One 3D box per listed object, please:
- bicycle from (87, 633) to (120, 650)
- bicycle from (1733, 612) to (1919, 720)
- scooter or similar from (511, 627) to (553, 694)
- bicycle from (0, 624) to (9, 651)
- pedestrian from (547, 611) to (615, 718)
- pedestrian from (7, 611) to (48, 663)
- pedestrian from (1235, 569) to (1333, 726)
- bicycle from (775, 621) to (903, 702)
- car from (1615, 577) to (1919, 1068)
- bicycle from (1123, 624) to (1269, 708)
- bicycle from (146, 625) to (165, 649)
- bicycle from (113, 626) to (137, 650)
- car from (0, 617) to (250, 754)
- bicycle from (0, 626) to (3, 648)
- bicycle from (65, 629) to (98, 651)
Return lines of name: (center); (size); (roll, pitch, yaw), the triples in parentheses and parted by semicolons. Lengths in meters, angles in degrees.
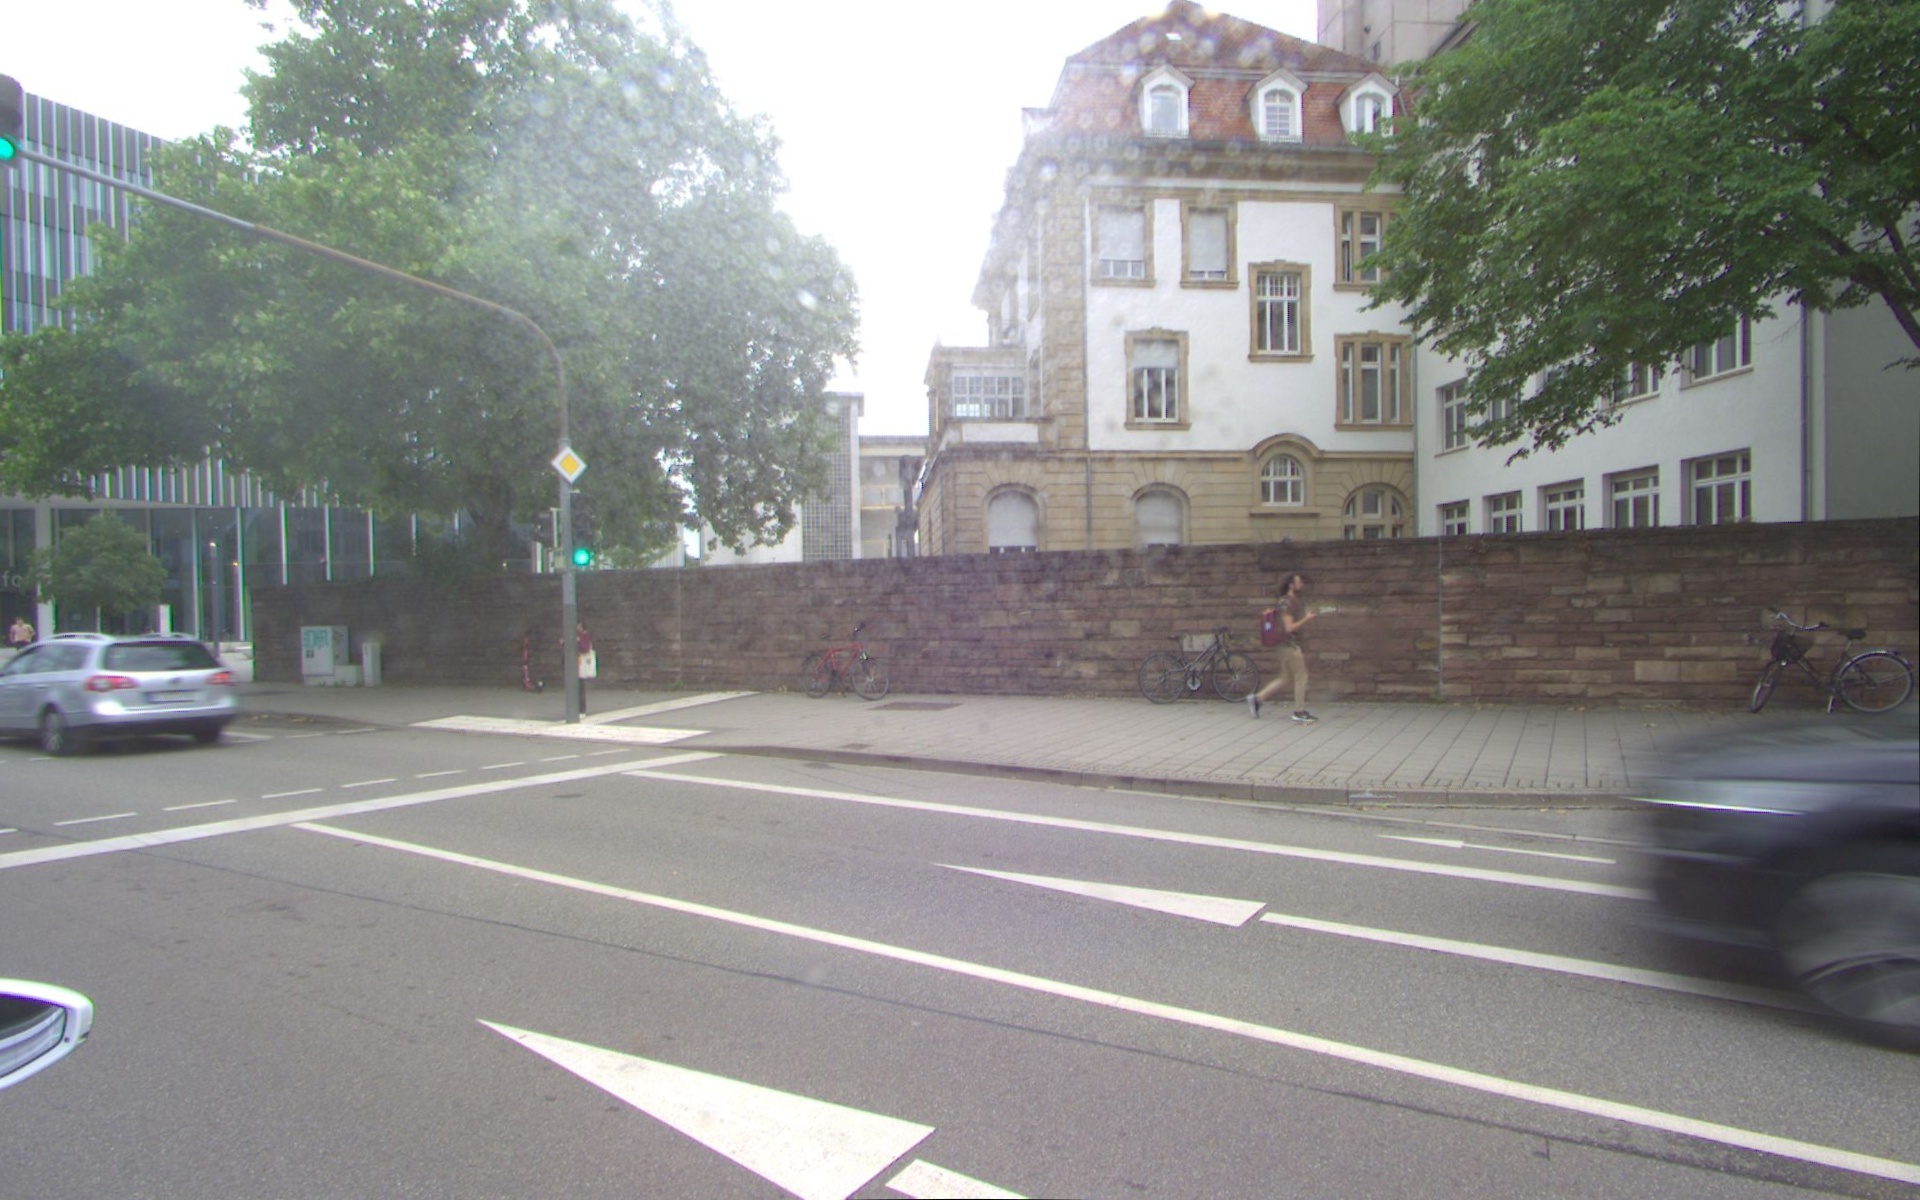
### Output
bicycle: (-41.614, 1.996, 48.676); (0.510, 0.726, 1.525); (-1, 1, -11)
bicycle: (10.162, 0.739, 11.457); (1.889, 1.143, 0.849); (-1, 2, 17)
scooter or similar: (-8.363, 1.152, 19.538); (0.427, 1.195, 1.693); (-3, 2, -33)
bicycle: (-46.273, 1.794, 48.199); (0.522, 1.270, 1.652); (-3, 2, -39)
pedestrian: (-5.934, 0.985, 15.691); (0.627, 1.584, 0.658); (0, 5, 32)
pedestrian: (-33.199, 1.306, 35.645); (0.756, 1.789, 0.845); (0, 2, 32)
pedestrian: (3.972, 0.555, 12.264); (1.018, 1.846, 0.629); (0, 2, 32)
bicycle: (-1.974, 0.971, 16.291); (1.923, 1.190, 0.802); (-1, 3, 27)
car: (4.944, 0.748, 3.427); (4.425, 1.645, 1.904); (-1, -2, 31)
bicycle: (3.342, 0.914, 14.133); (1.934, 1.088, 0.941); (-1, 2, 17)
bicycle: (-39.226, 1.794, 48.834); (0.616, 1.070, 1.933); (-2, 2, -38)
bicycle: (-40.478, 1.833, 48.554); (0.802, 1.070, 1.933); (-2, 2, -38)
car: (-11.530, 1.087, 13.483); (4.467, 1.570, 1.820); (-3, -3, 35)
bicycle: (-48.436, 1.874, 49.932); (0.613, 1.060, 1.696); (-2, 2, -31)
bicycle: (-42.519, 1.917, 48.497); (0.686, 0.959, 1.975); (-2, 1, -27)
